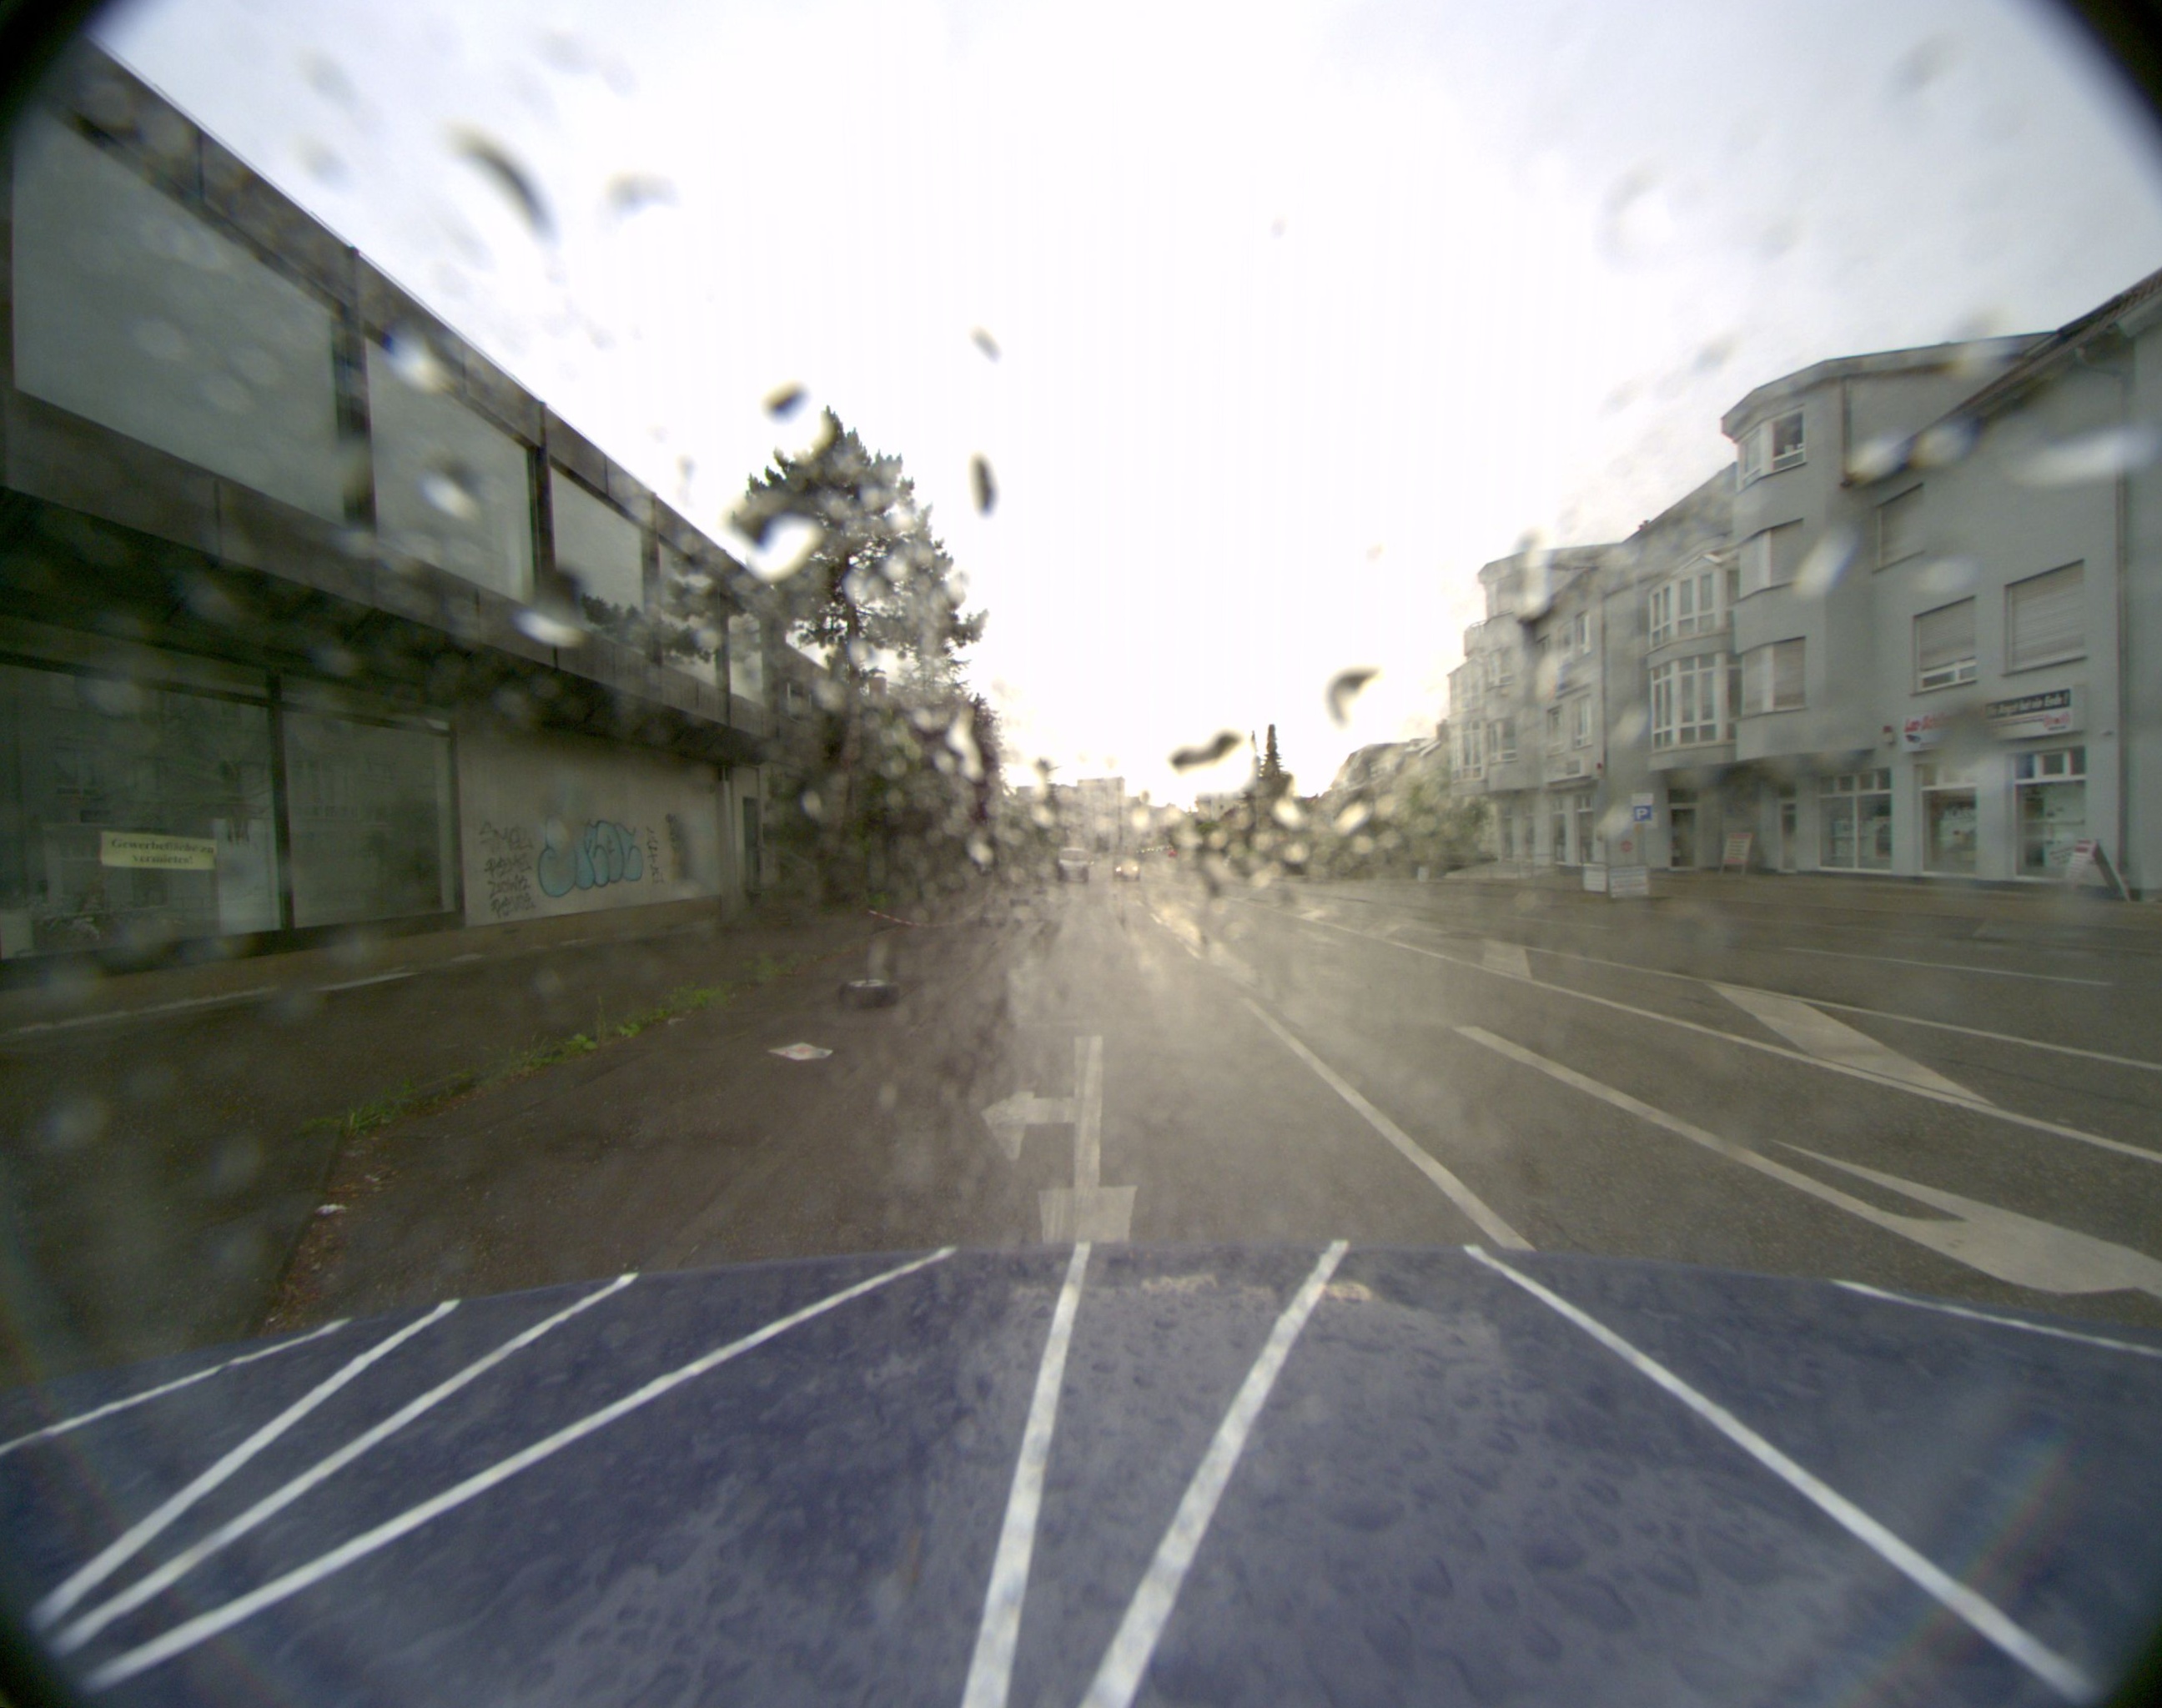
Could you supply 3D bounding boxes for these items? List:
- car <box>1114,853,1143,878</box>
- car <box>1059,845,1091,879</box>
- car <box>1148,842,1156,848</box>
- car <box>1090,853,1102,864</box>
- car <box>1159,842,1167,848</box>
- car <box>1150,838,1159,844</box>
[{"bbox_3d":[3.275,0.772,53.090,1.754,1.534,4.676,-1,1,1],"label":"car"},{"bbox_3d":[-0.352,0.472,50.408,1.998,2.072,3.999,-2,1,1],"label":"car"},{"bbox_3d":[21.216,-2.582,225.974,1.997,1.723,4.002,-2,1,9],"label":"car"},{"bbox_3d":[2.541,0.731,128.729,1.803,1.675,3.999,-2,1,1],"label":"car"},{"bbox_3d":[25.436,-2.879,235.812,1.998,1.774,4.000,-2,1,3],"label":"car"},{"bbox_3d":[23.457,-4.081,242.119,1.996,1.808,4.003,-2,1,14],"label":"car"}]
